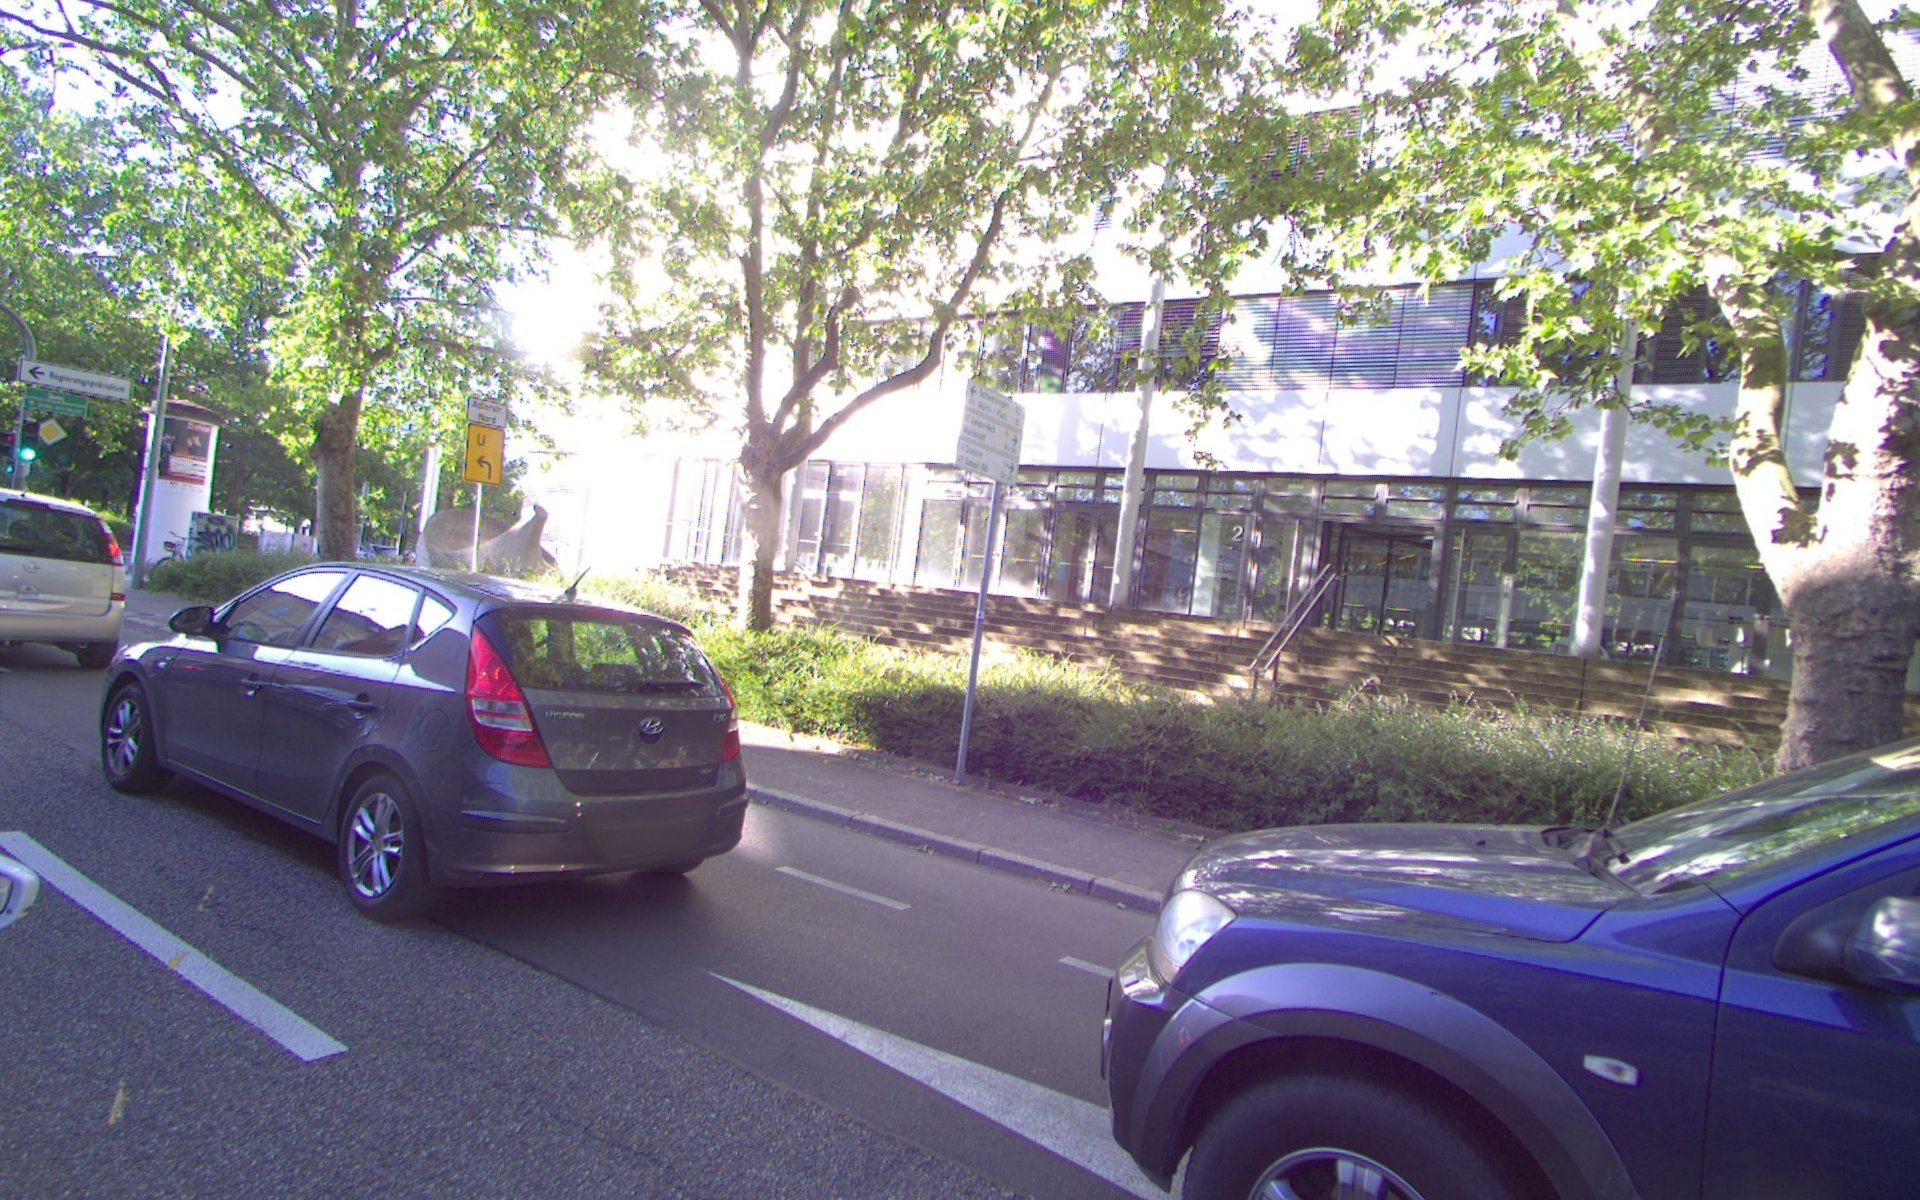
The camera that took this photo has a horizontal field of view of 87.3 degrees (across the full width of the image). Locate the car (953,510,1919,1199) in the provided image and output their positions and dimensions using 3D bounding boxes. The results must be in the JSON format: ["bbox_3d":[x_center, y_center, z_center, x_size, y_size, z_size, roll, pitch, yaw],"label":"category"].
[{"bbox_3d":[2.409,0.978,2.013,4.407,1.784,1.865,7,-1,32],"label":"car"}]

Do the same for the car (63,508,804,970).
[{"bbox_3d":[-2.997,0.503,5.511,3.934,1.537,1.707,7,-1,32],"label":"car"}]

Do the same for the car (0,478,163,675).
[{"bbox_3d":[-9.843,-0.358,10.009,3.620,1.681,1.734,6,-2,32],"label":"car"}]

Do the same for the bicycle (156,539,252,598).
[{"bbox_3d":[-15.920,-0.638,21.254,0.631,1.040,1.887,7,-2,-5],"label":"bicycle"}]
